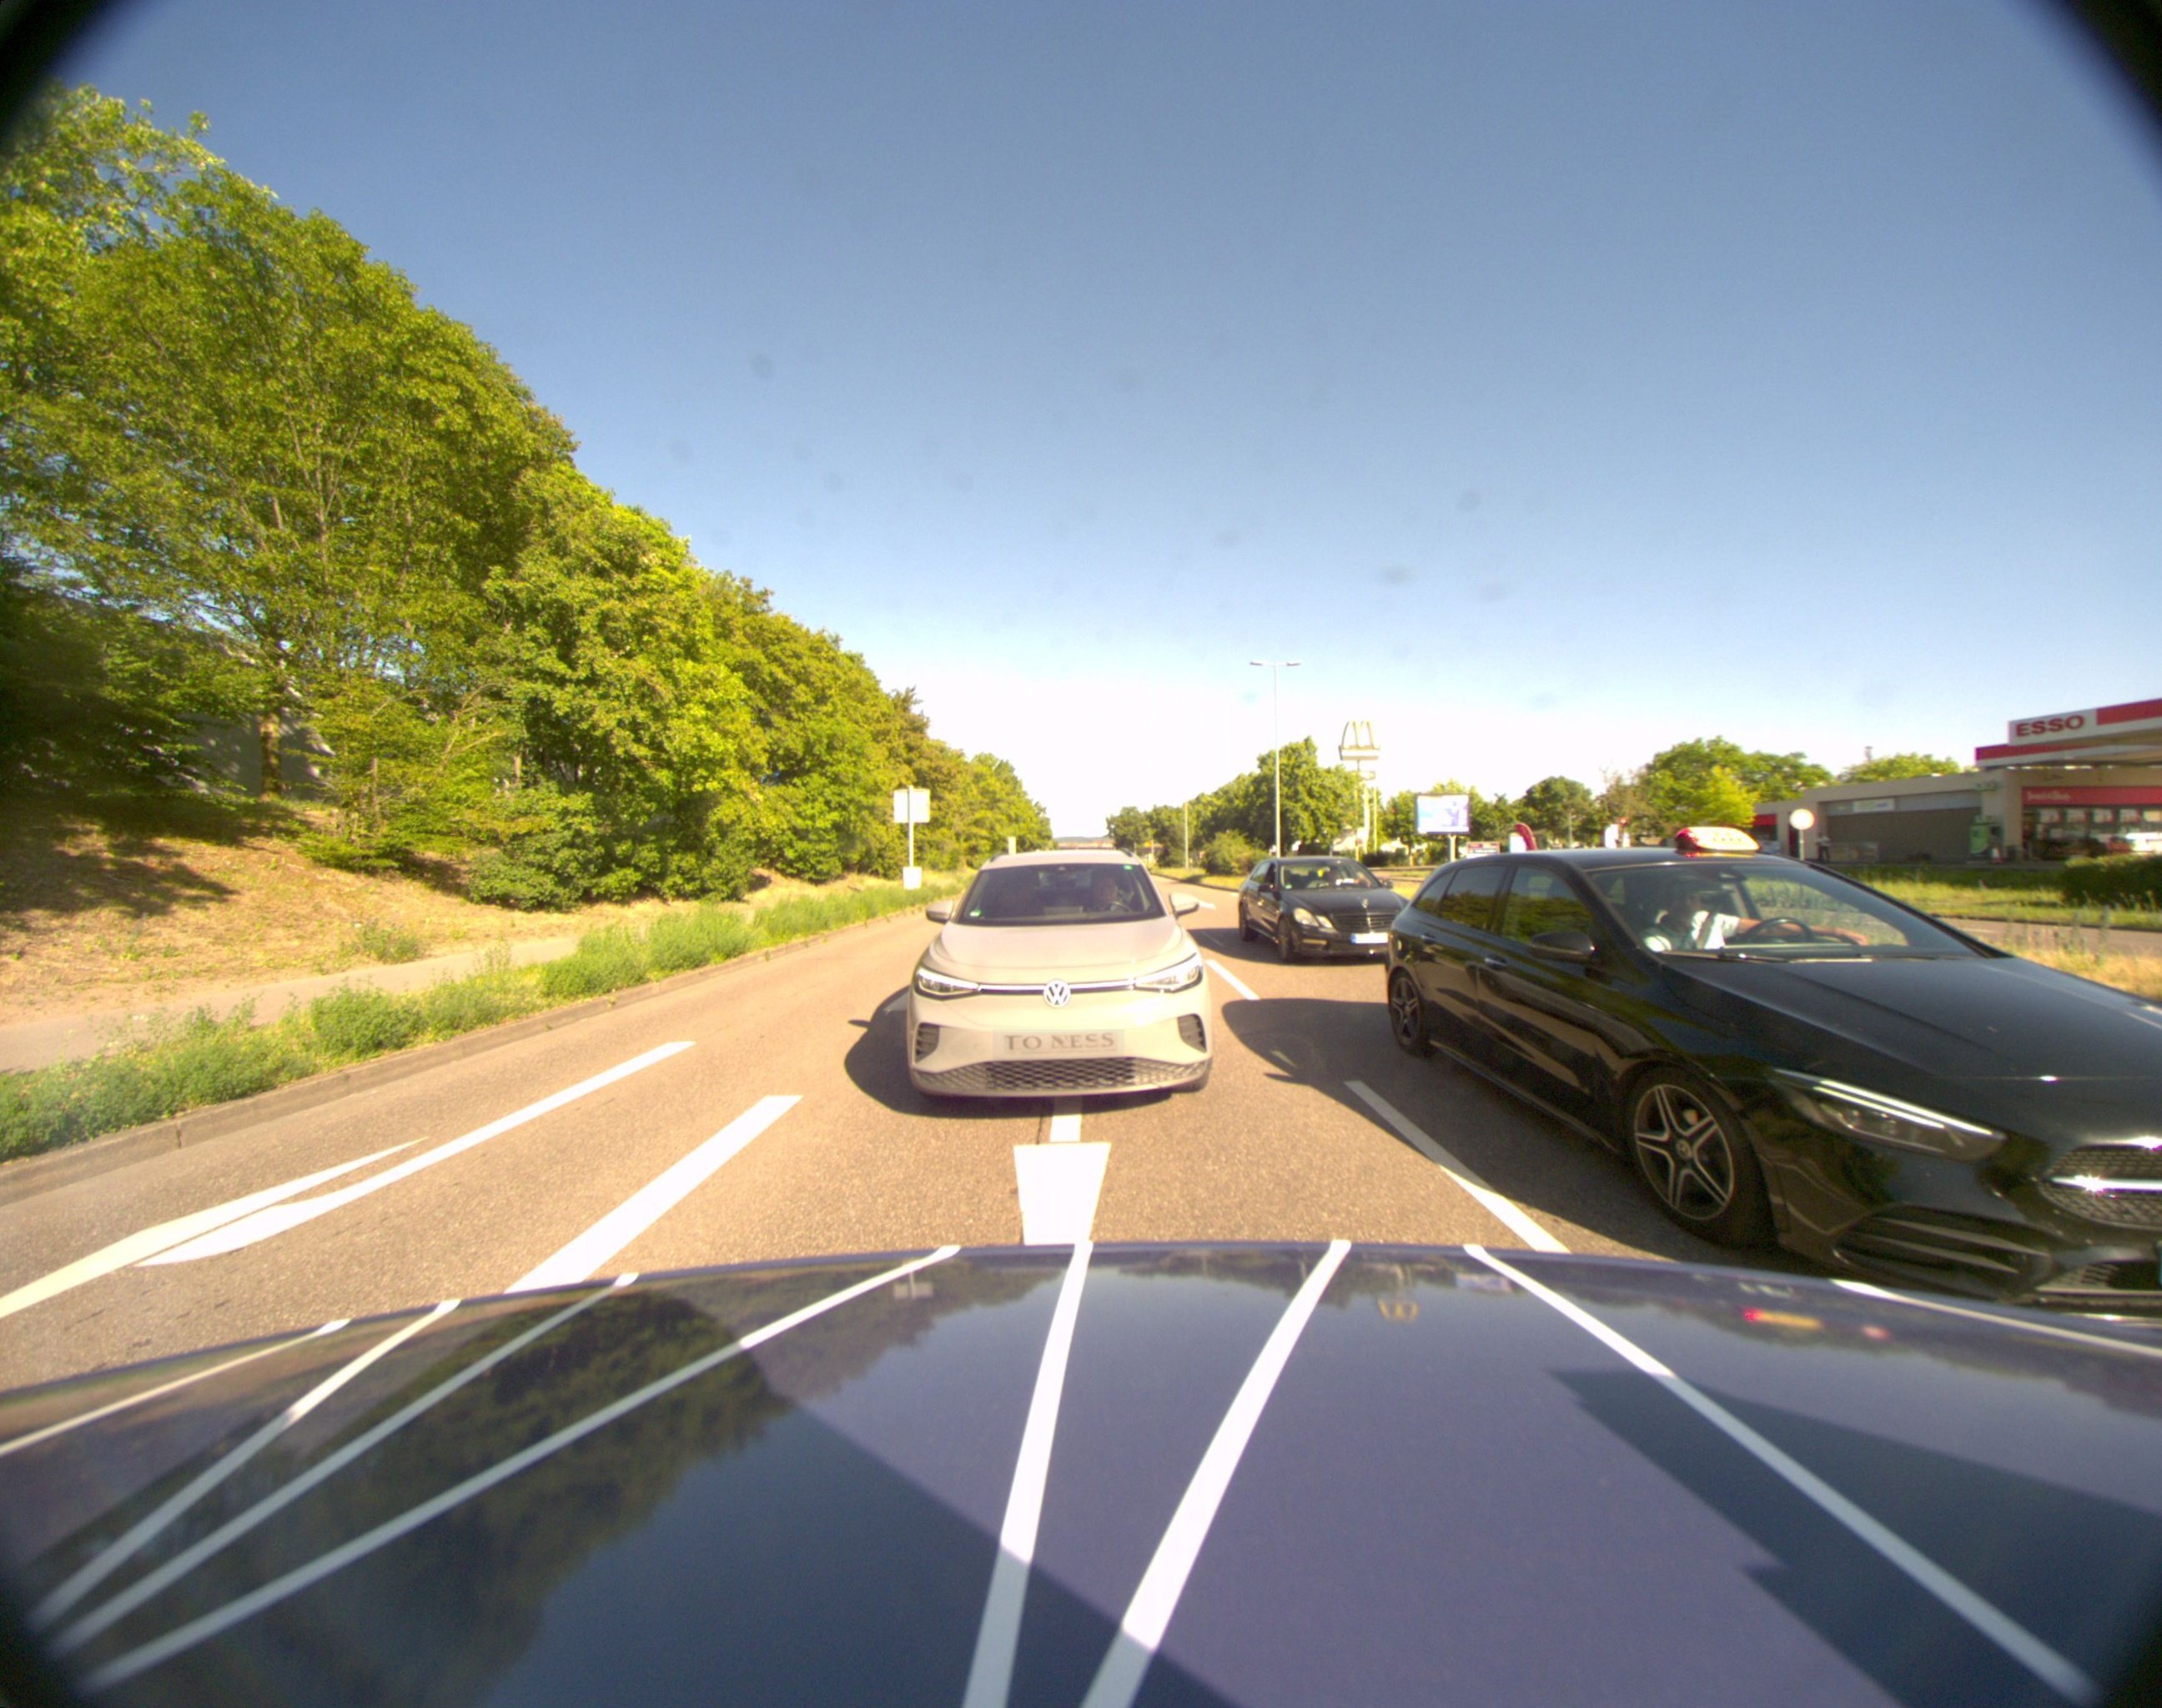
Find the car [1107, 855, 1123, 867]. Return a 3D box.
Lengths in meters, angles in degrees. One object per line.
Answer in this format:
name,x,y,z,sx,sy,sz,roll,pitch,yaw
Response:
car,4.427,0.873,98.614,1.998,1.433,4.000,-1,0,1

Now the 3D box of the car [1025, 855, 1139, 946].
car,0.043,0.857,16.066,2.036,1.601,4.098,-2,0,1

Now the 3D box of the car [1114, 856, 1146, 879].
car,3.353,0.922,52.807,1.998,1.434,4.000,-2,1,2

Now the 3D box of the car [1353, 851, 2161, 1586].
car,3.162,0.810,3.981,1.788,1.592,4.583,-2,0,0

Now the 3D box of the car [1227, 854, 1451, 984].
car,3.670,0.817,11.767,1.953,1.501,4.462,-2,1,1

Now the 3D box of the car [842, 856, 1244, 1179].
car,-0.174,0.857,5.991,2.025,1.601,4.098,-2,0,1

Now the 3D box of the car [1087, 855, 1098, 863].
car,2.096,0.887,143.184,1.998,1.433,4.000,-1,0,1
